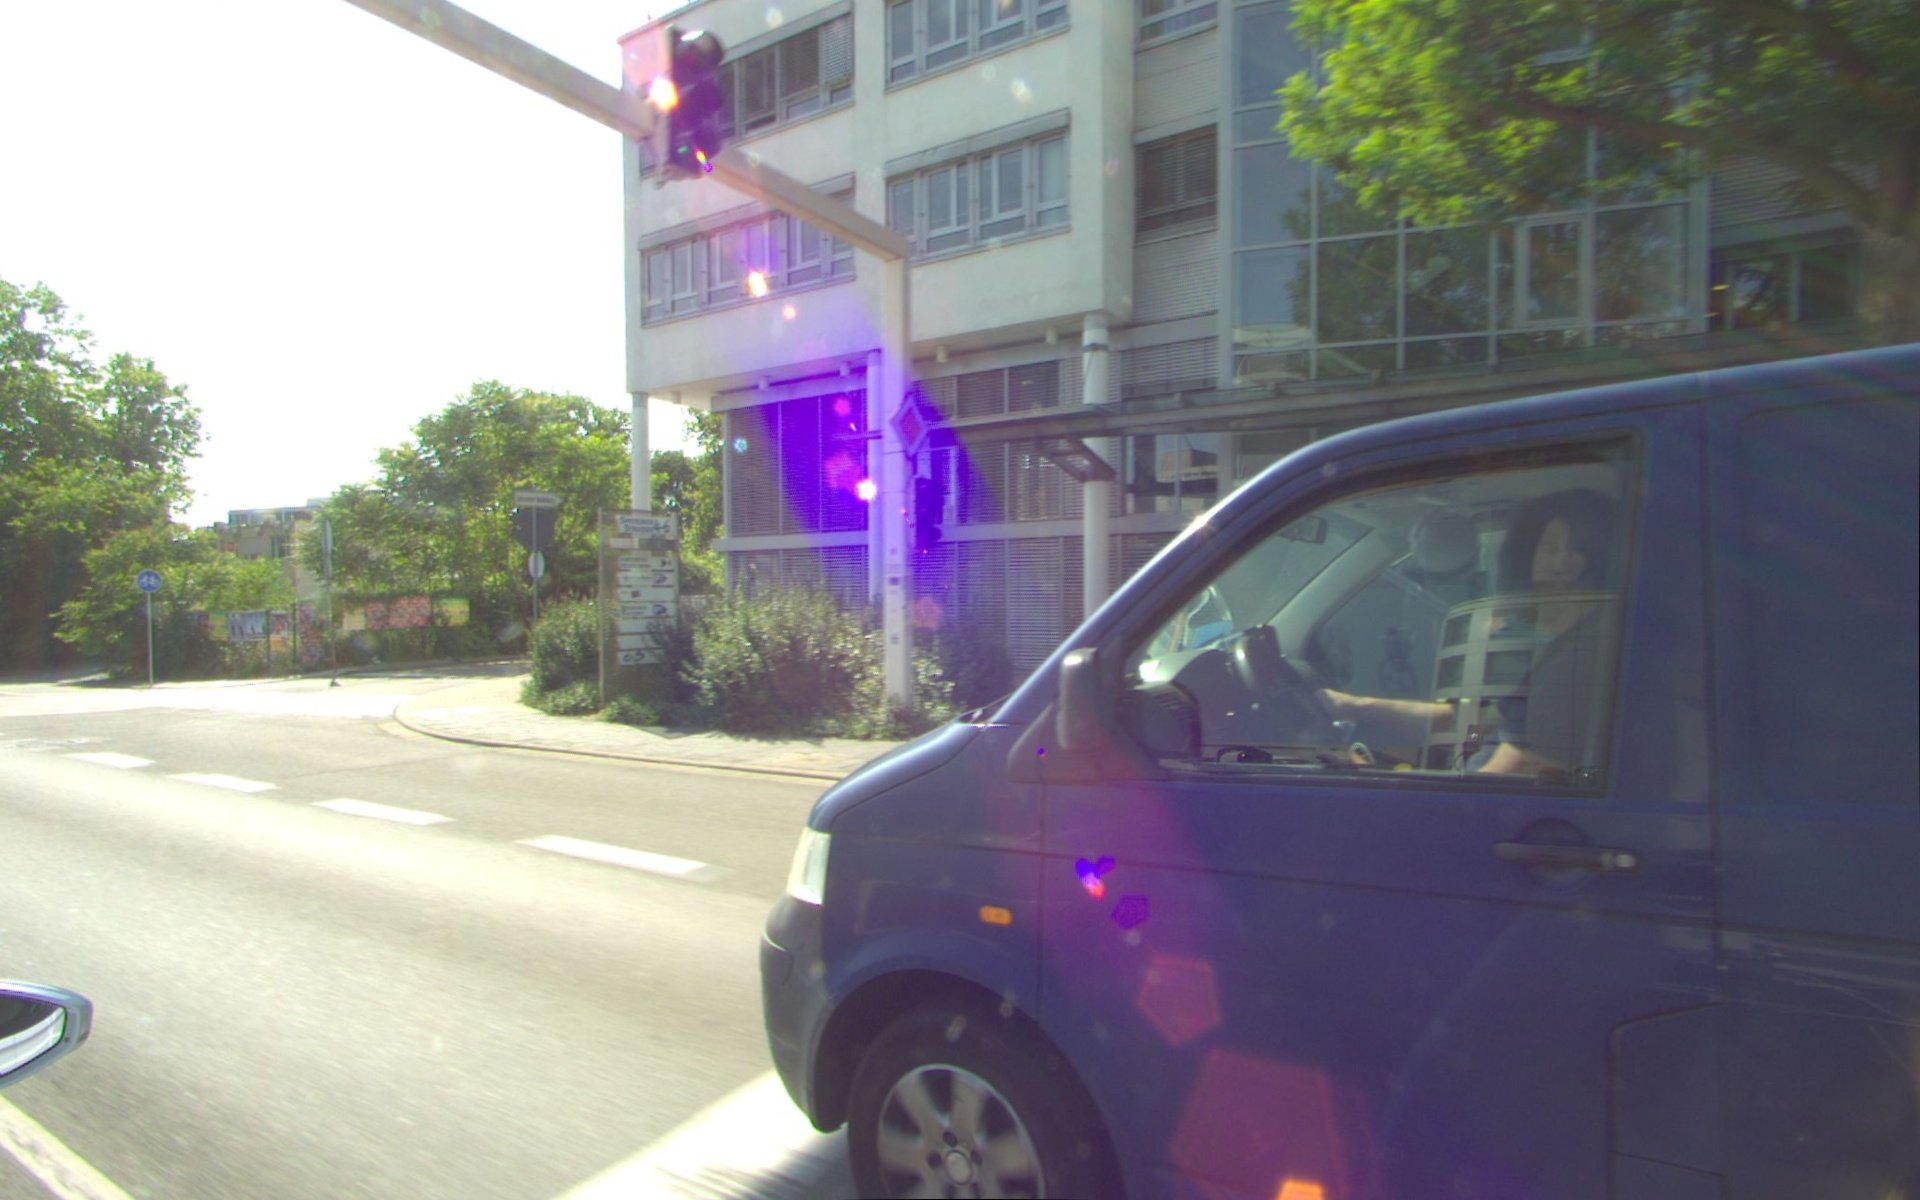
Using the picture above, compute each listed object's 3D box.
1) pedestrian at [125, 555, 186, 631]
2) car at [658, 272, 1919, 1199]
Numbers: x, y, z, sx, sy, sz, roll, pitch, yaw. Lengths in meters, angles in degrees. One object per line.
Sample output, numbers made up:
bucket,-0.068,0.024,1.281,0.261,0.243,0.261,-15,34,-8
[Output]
pedestrian,-22.225,-0.172,27.670,1.024,2.040,1.024,-1,0,33
car,1.766,0.563,2.158,4.824,1.973,1.989,-2,-1,33
